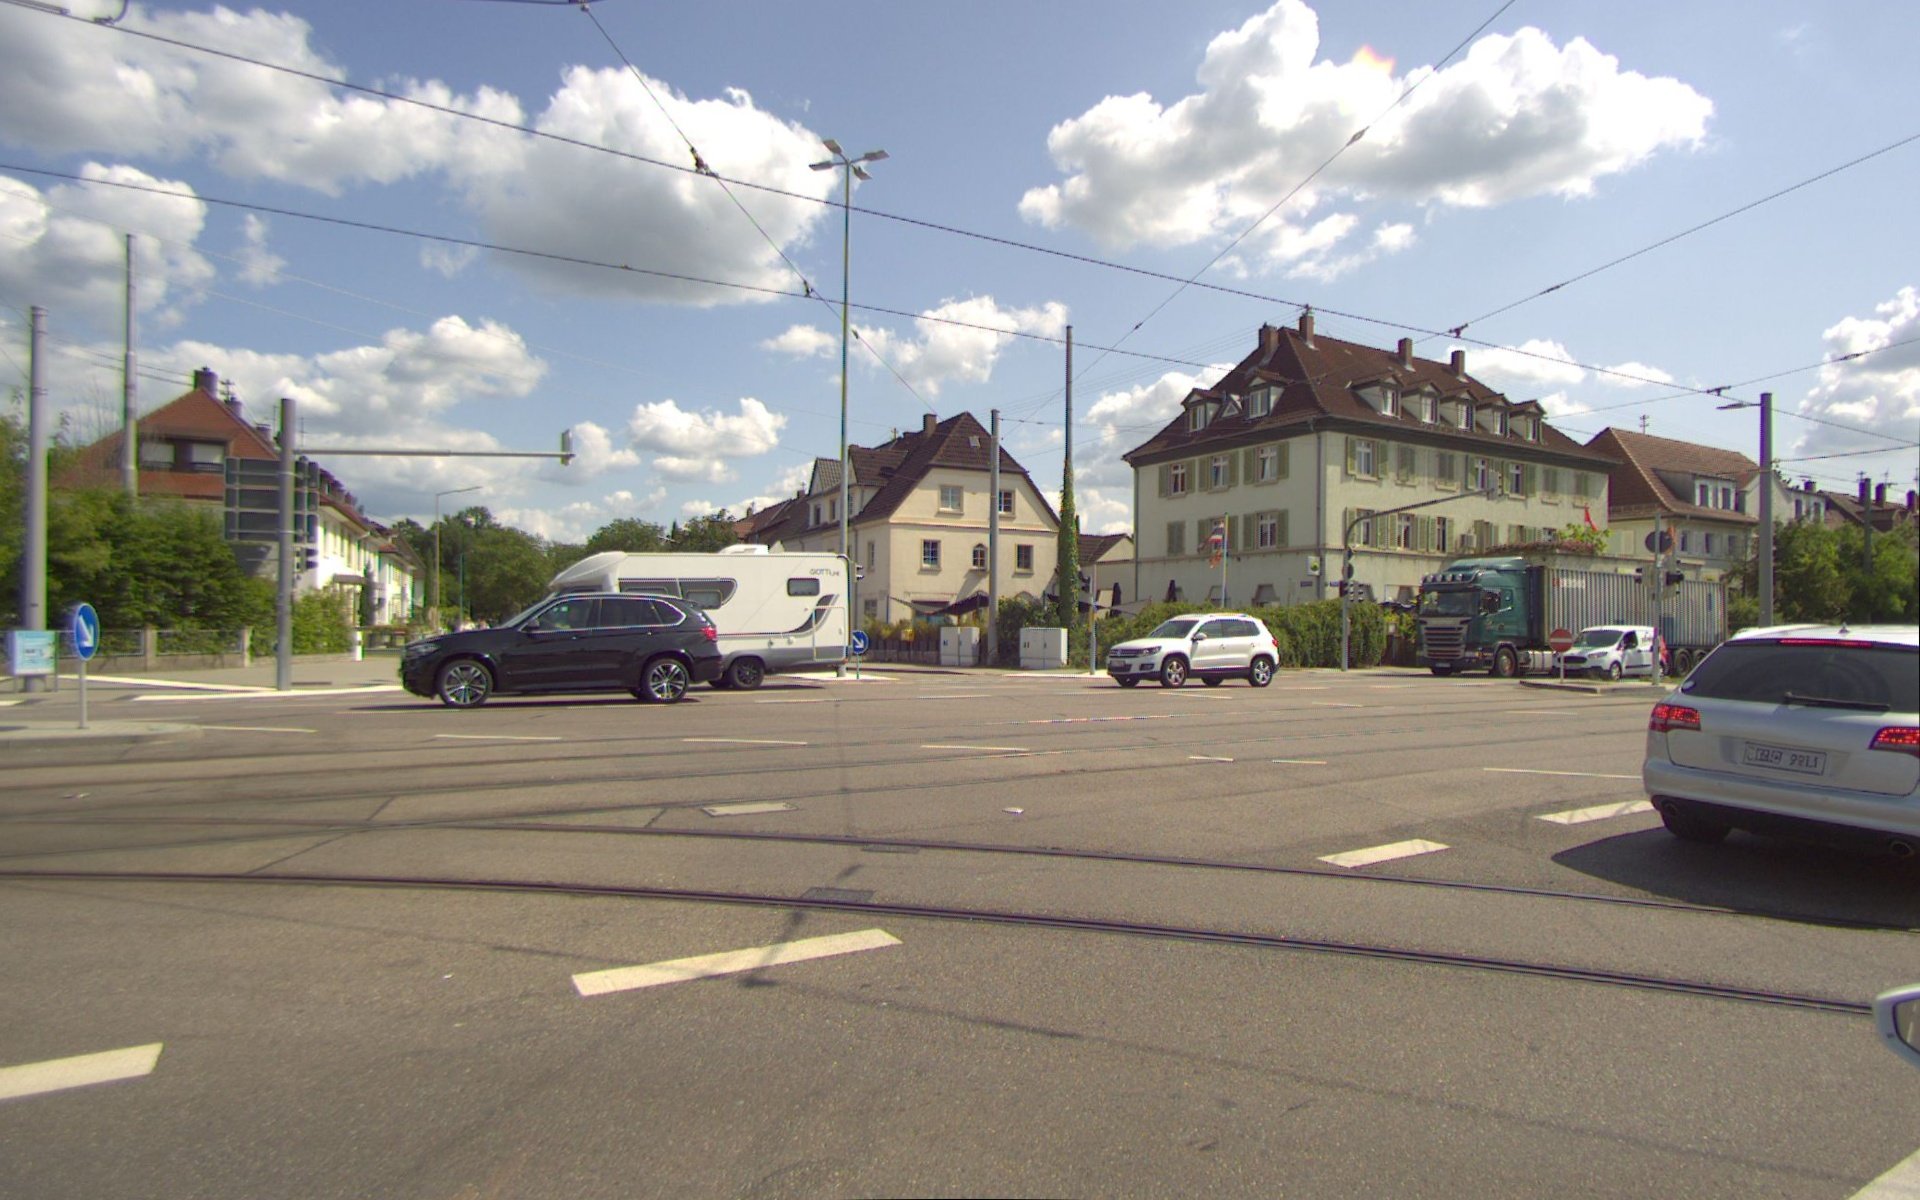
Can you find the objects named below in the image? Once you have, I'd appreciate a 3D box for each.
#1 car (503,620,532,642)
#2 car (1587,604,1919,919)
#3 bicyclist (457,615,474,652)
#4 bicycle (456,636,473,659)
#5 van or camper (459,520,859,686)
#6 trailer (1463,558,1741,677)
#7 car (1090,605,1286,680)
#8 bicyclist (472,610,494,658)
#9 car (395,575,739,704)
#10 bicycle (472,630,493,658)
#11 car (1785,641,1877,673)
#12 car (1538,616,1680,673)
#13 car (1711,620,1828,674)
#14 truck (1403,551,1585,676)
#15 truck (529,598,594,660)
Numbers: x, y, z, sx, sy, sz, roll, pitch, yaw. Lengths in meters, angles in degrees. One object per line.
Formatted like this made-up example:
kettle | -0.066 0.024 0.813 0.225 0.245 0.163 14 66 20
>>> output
car | -37.039 2.582 84.076 1.974 1.573 4.149 3 -1 -27
car | 6.297 0.838 6.576 4.667 1.491 1.785 2 0 -31
bicyclist | -20.937 1.418 42.510 0.595 1.517 0.498 2 0 -28
bicycle | -20.946 2.017 42.487 0.595 0.846 1.797 2 0 -27
van or camper | -6.087 0.200 20.880 7.658 2.968 2.315 2 -3 -29
trailer | 23.707 0.711 36.690 12.674 3.871 2.590 1 -3 -28
car | 5.226 1.035 22.955 4.128 1.572 1.985 2 -5 -30
bicyclist | -15.869 1.126 33.409 0.595 1.529 0.641 2 0 -27
car | -6.162 0.635 16.002 4.816 1.799 1.986 1 -2 -28
bicycle | -15.878 1.462 33.394 0.595 0.846 1.075 2 0 -27
car | 40.120 2.636 46.247 4.417 1.405 1.787 2 -2 -29
car | 20.046 1.384 30.979 4.415 1.658 1.787 2 -2 -28
car | 29.188 1.720 36.190 4.658 1.839 1.786 2 -2 -30
truck | 17.895 0.508 33.637 5.594 3.871 2.590 1 -3 -27
truck | -14.600 0.982 36.619 1.668 1.947 6.163 2 0 -26
